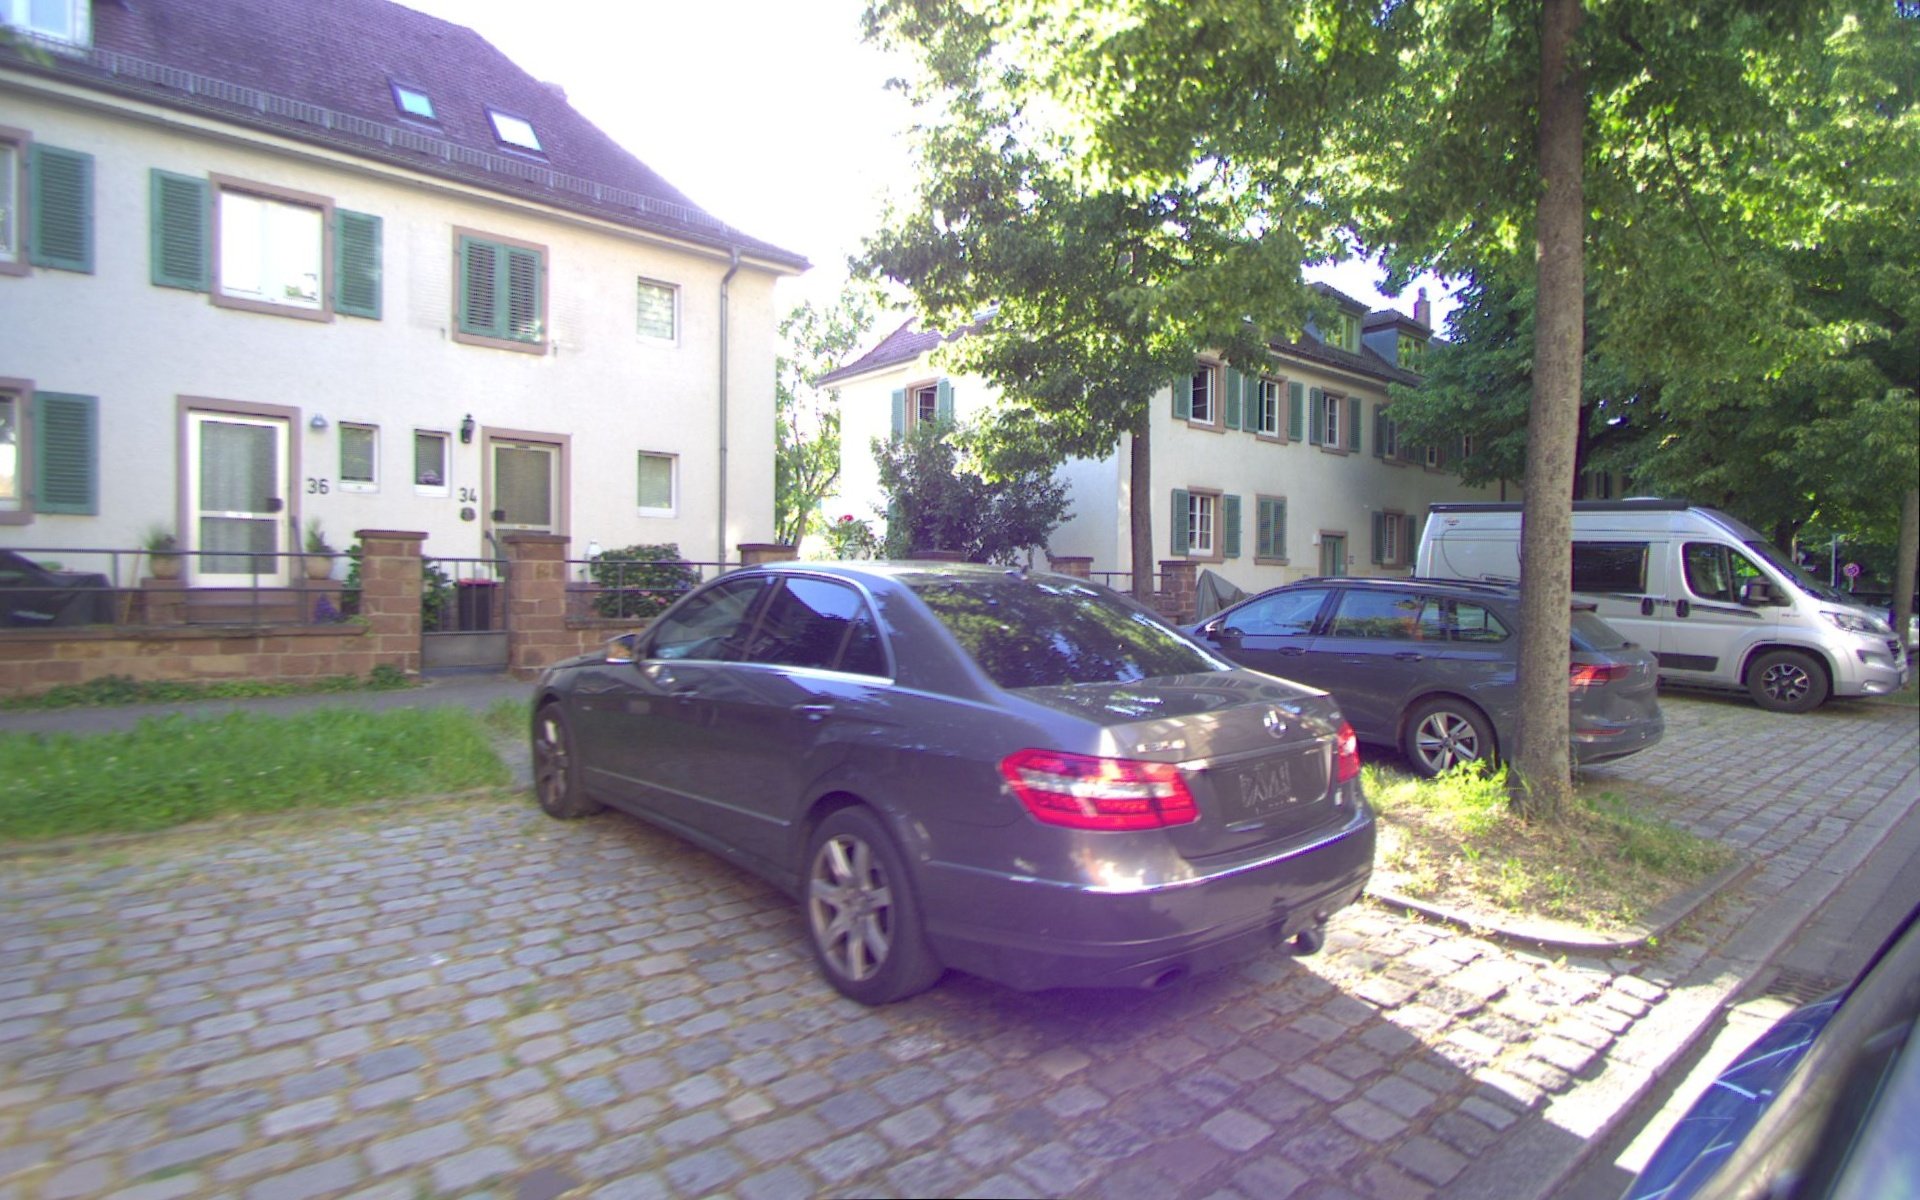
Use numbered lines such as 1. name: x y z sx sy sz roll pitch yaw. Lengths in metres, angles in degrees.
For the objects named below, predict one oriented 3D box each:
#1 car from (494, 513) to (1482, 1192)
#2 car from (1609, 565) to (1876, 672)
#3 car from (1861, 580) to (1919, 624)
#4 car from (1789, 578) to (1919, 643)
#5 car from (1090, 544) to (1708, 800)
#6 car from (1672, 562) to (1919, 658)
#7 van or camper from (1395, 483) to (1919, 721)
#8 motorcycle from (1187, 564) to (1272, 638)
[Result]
1. car: -0.458 0.446 4.828 1.862 1.557 4.847 -1 5 -42
2. car: 13.415 0.269 17.468 1.792 1.480 3.262 2 3 -39
3. car: 35.044 0.092 36.273 1.547 1.531 3.991 0 2 -44
4. car: 24.039 0.258 26.014 1.528 1.571 3.996 0 2 -40
5. car: 3.404 0.357 8.674 1.796 1.453 4.488 0 5 -40
6. car: 18.333 0.143 21.724 1.966 1.736 4.603 0 4 -42
7. van or camper: 9.257 -0.209 13.693 2.124 2.546 5.734 0 5 -40
8. motorcycle: 5.433 0.002 20.340 1.981 1.424 0.660 -1 0 -41
